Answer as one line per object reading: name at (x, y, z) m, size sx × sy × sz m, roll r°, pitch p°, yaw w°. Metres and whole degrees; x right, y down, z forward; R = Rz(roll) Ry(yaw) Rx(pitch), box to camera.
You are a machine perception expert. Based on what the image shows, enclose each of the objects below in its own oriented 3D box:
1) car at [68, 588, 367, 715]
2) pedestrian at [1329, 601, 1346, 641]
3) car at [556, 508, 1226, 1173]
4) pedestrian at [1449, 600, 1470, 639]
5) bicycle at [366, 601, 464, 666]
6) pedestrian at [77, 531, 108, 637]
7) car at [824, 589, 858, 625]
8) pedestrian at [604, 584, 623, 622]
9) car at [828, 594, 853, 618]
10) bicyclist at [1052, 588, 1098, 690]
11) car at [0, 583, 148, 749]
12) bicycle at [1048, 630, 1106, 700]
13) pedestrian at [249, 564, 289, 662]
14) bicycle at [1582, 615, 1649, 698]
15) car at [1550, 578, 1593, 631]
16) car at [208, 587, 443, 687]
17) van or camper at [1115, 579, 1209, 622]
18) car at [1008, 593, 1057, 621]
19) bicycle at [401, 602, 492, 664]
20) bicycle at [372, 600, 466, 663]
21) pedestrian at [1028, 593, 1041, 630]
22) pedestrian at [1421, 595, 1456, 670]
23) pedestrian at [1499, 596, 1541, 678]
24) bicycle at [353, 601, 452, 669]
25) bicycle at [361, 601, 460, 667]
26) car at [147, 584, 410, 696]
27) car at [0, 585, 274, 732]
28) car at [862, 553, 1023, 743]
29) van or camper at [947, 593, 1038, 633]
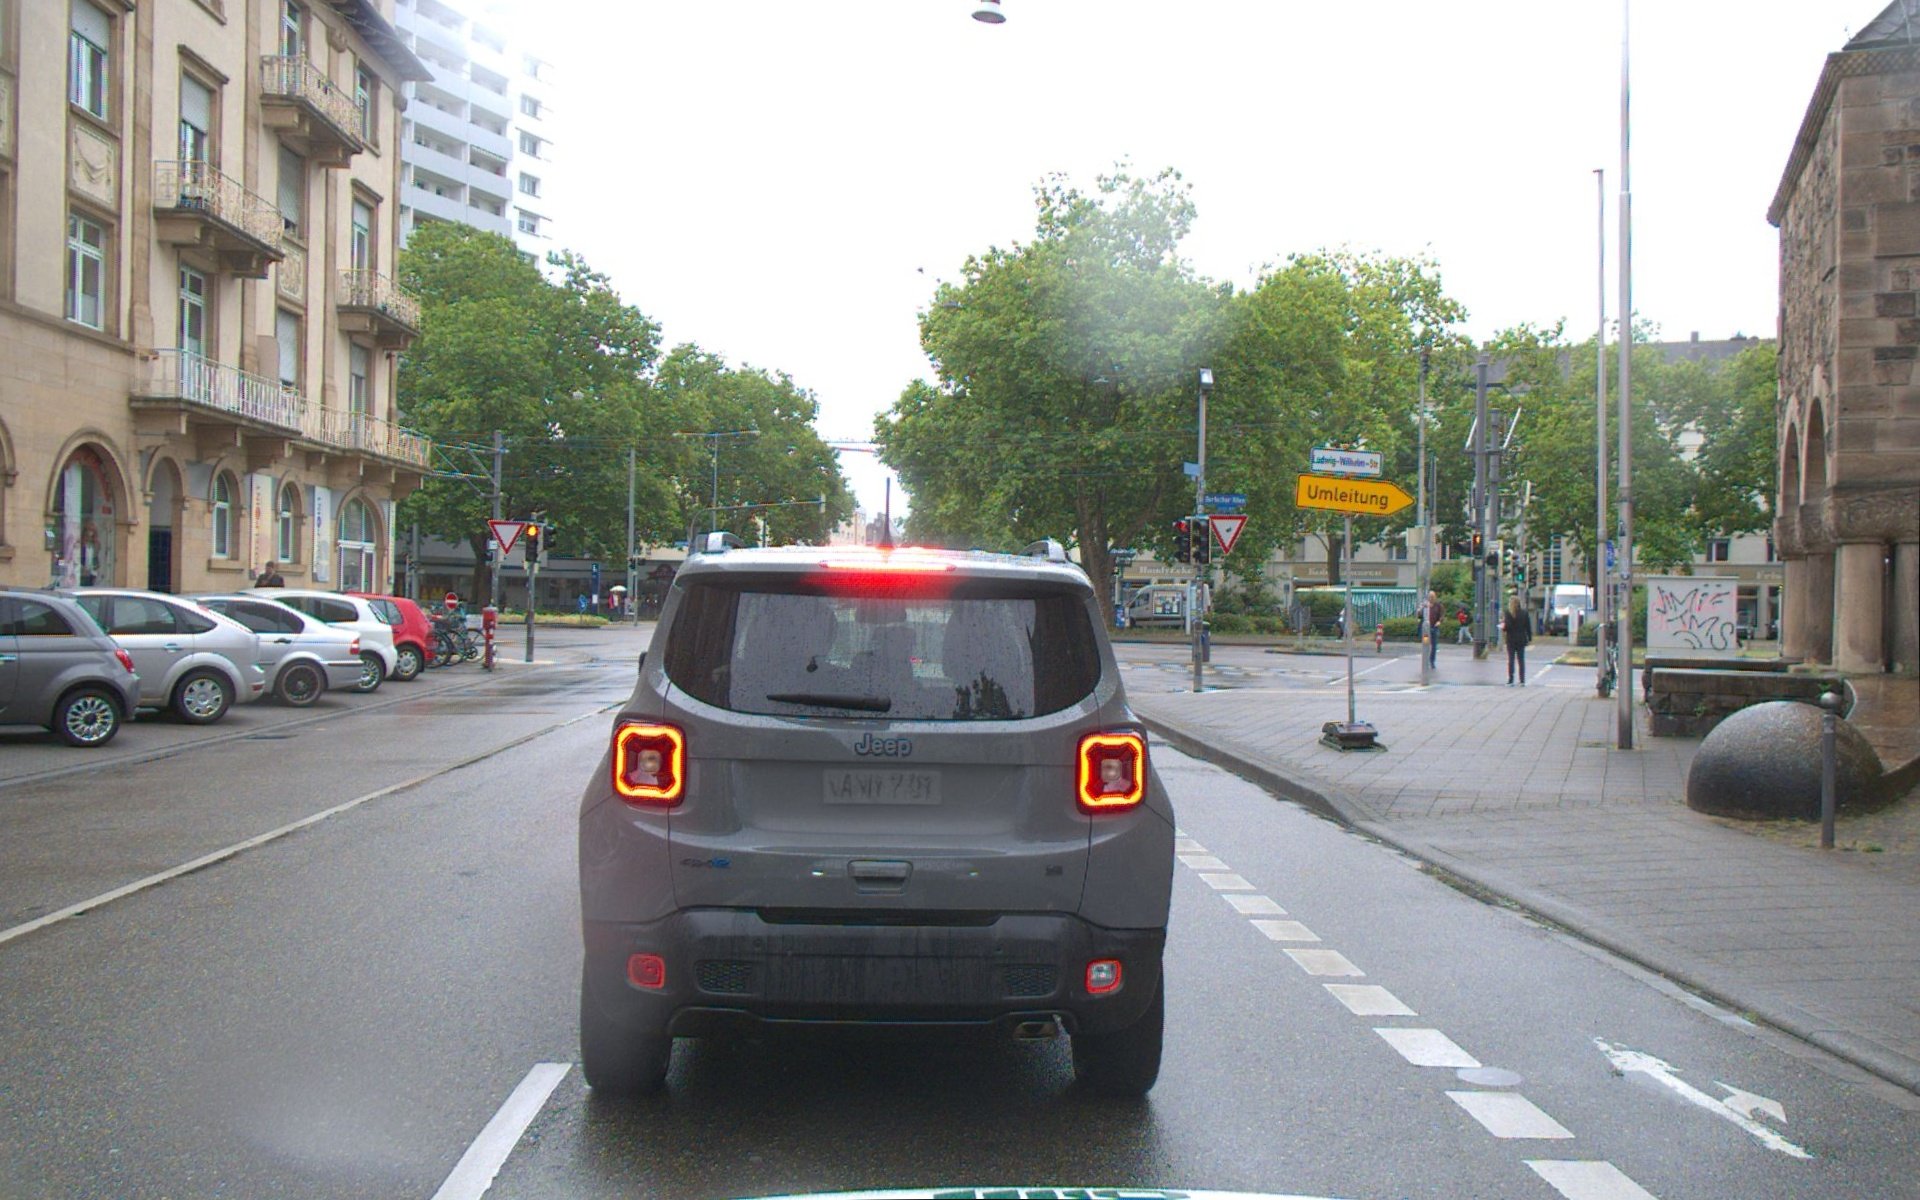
car at (-9.997, 0.652, 22.355) m, size 3.372 × 1.585 × 1.681 m, roll 1°, pitch 0°, yaw -41°
pedestrian at (15.380, 0.840, 67.400) m, size 0.600 × 1.631 × 0.494 m, roll 0°, pitch 0°, yaw 23°
car at (-0.236, 0.615, 6.245) m, size 1.739 × 1.716 × 3.846 m, roll 0°, pitch 0°, yaw -2°
pedestrian at (20.233, 0.786, 66.994) m, size 0.660 × 1.581 × 0.761 m, roll 0°, pitch -2°, yaw 27°
bicycle at (-10.913, 0.672, 33.127) m, size 1.774 × 1.288 × 0.498 m, roll 0°, pitch 0°, yaw -3°
pedestrian at (-15.325, -0.278, 29.224) m, size 0.359 × 1.854 × 0.347 m, roll 0°, pitch -1°, yaw -4°
car at (-6.108, 0.346, 84.885) m, size 1.688 × 1.769 × 3.726 m, roll 1°, pitch 0°, yaw -5°
pedestrian at (-16.907, 0.136, 80.727) m, size 0.678 × 1.858 × 0.620 m, roll 0°, pitch 0°, yaw 27°
car at (-8.751, 0.401, 120.963) m, size 1.779 × 1.700 × 3.916 m, roll 1°, pitch 0°, yaw -5°
bicyclist at (1.893, 0.629, 27.311) m, size 0.673 × 1.646 × 0.883 m, roll 0°, pitch 0°, yaw -2°
car at (-9.958, 0.619, 16.143) m, size 3.372 × 1.585 × 1.629 m, roll 1°, pitch 0°, yaw -41°
bicycle at (1.899, 1.045, 27.187) m, size 0.678 × 1.039 × 2.657 m, roll 0°, pitch 0°, yaw -2°
pedestrian at (-14.692, 0.271, 35.166) m, size 0.556 × 2.049 × 0.654 m, roll 1°, pitch 0°, yaw -1°
bicycle at (9.897, 0.830, 25.020) m, size 0.322 × 1.174 × 2.076 m, roll 0°, pitch 0°, yaw 4°
car at (31.233, 0.216, 84.435) m, size 1.868 × 2.600 × 4.786 m, roll 0°, pitch 0°, yaw 22°
car at (-10.735, 0.591, 28.068) m, size 3.372 × 1.585 × 1.681 m, roll 1°, pitch 0°, yaw -41°
van or camper at (11.589, 0.026, 95.087) m, size 5.149 × 2.356 × 2.090 m, roll 1°, pitch 0°, yaw 3°
car at (5.243, 0.516, 119.556) m, size 3.363 × 2.049 × 1.549 m, roll 0°, pitch -1°, yaw 12°
bicycle at (-10.865, 0.699, 35.035) m, size 1.728 × 1.288 × 0.608 m, roll 0°, pitch 0°, yaw -3°
bicycle at (-11.165, 0.653, 34.152) m, size 1.728 × 1.288 × 0.608 m, roll 0°, pitch 0°, yaw -3°
pedestrian at (4.174, 0.630, 92.987) m, size 0.637 × 2.049 × 0.483 m, roll 1°, pitch 0°, yaw 11°
pedestrian at (11.540, 0.764, 39.930) m, size 0.769 × 1.790 × 0.946 m, roll 0°, pitch 0°, yaw 14°
pedestrian at (11.616, 0.754, 34.298) m, size 0.767 × 1.674 × 0.655 m, roll 0°, pitch 0°, yaw 23°
bicycle at (-10.744, 0.674, 31.900) m, size 1.728 × 1.288 × 0.522 m, roll 0°, pitch 0°, yaw -3°
bicycle at (-10.772, 0.665, 32.446) m, size 1.774 × 1.288 × 0.498 m, roll 0°, pitch 0°, yaw -3°
car at (-10.349, 0.573, 25.207) m, size 3.372 × 1.585 × 1.681 m, roll 1°, pitch 0°, yaw -41°
car at (-9.952, 0.632, 19.172) m, size 3.372 × 1.585 × 1.681 m, roll 1°, pitch 0°, yaw -41°
car at (-0.231, 0.513, 19.958) m, size 1.734 × 2.049 × 3.999 m, roll 1°, pitch 0°, yaw -1°
van or camper at (2.465, 0.975, 124.883) m, size 6.395 × 2.963 × 2.493 m, roll 0°, pitch 0°, yaw 24°
